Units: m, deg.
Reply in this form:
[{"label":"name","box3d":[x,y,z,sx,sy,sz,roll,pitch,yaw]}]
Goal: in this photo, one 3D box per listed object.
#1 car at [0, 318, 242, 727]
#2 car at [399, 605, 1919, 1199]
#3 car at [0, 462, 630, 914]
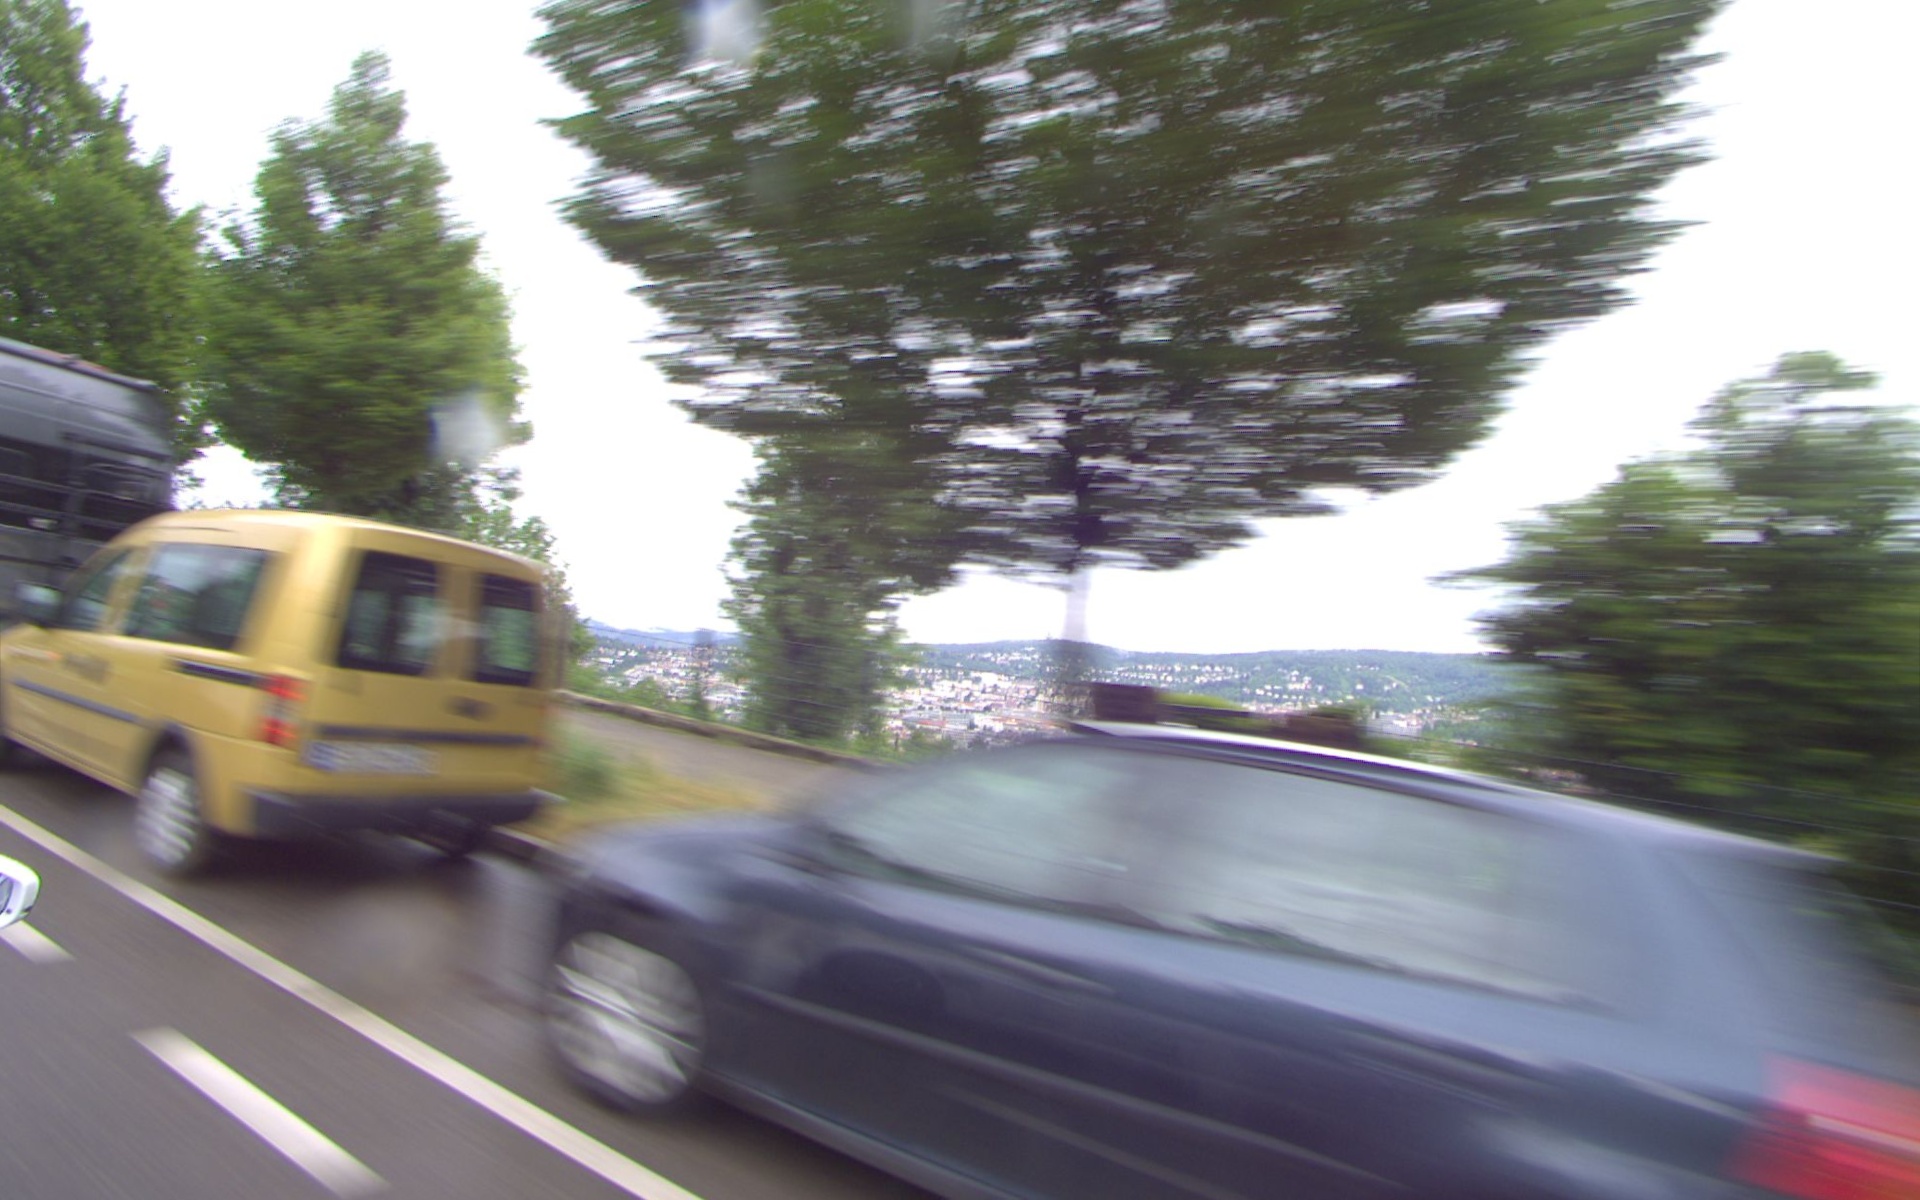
[{"label":"car","box3d":[-9.304,-0.800,9.063,5.672,2.917,2.131,7,-4,30]},{"label":"car","box3d":[0.292,1.078,3.294,4.153,1.472,1.678,6,-6,31]},{"label":"car","box3d":[-4.220,0.341,6.006,4.205,1.803,1.734,6,-6,32]}]
